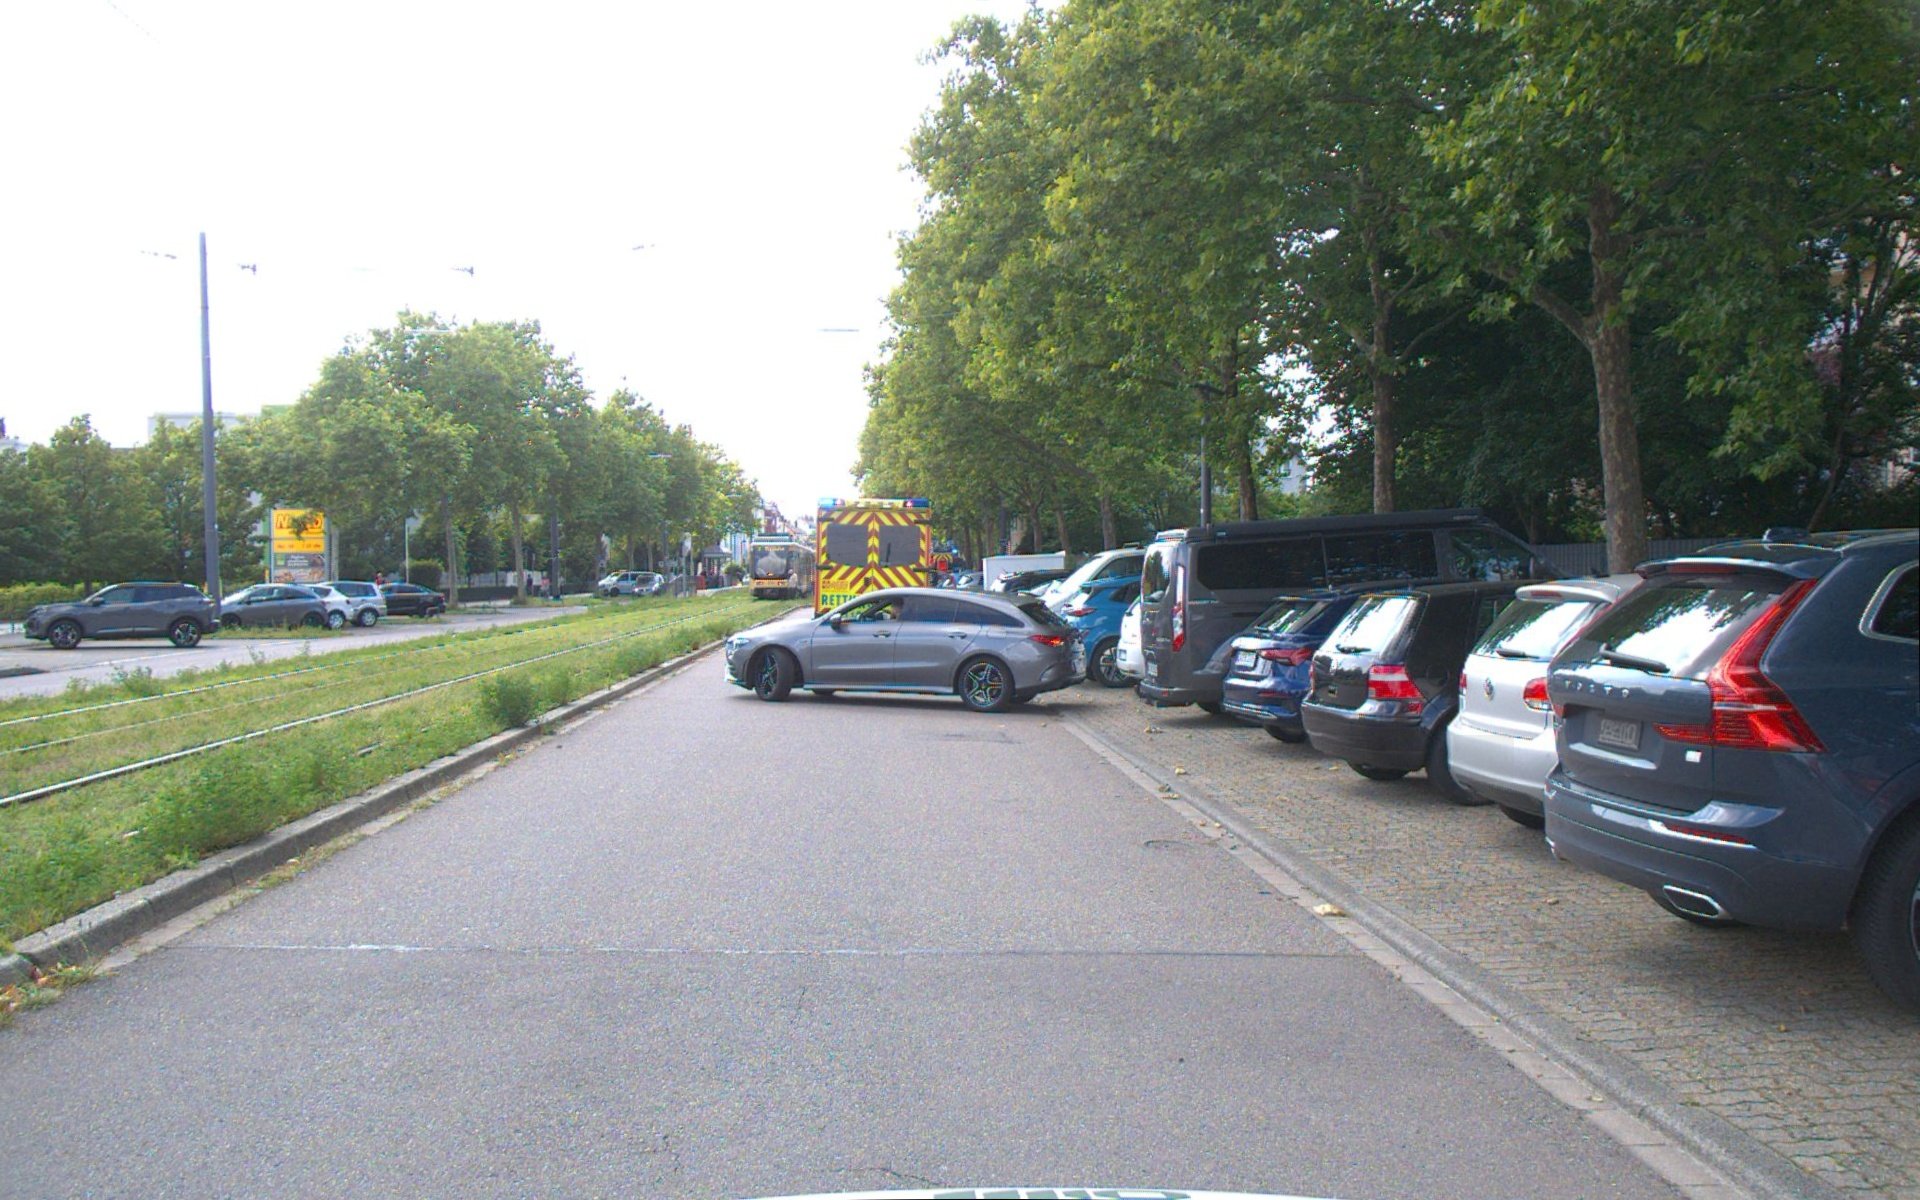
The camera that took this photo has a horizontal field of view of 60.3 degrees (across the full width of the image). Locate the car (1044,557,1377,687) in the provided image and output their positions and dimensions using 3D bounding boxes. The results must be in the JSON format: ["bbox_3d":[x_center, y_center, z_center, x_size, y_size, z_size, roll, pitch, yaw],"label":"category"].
[{"bbox_3d":[3.610,0.287,24.213,4.460,1.689,1.853,-2,1,-8],"label":"car"}]

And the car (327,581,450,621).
[{"bbox_3d":[-22.262,0.040,64.498,4.201,1.508,1.854,0,0,-43],"label":"car"}]

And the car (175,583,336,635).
[{"bbox_3d":[-21.431,0.248,50.371,4.194,1.508,1.857,0,0,-39],"label":"car"}]

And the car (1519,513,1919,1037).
[{"bbox_3d":[4.572,0.494,6.262,4.292,1.668,1.756,-2,1,-2],"label":"car"}]

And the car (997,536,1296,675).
[{"bbox_3d":[2.957,0.061,26.713,4.459,2.035,1.853,-2,1,-7],"label":"car"}]

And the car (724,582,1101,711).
[{"bbox_3d":[-0.562,0.529,20.654,4.359,1.409,1.768,1,1,15],"label":"car"}]

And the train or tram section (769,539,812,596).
[{"bbox_3d":[-11.360,-2.108,111.404,2.462,3.646,7.440,-2,0,-3],"label":"train or tram section"}]

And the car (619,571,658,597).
[{"bbox_3d":[-21.197,-1.054,109.111,1.954,1.585,4.367,-2,1,-4],"label":"car"}]

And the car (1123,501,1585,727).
[{"bbox_3d":[4.129,0.122,17.774,4.456,2.160,1.854,-2,1,-4],"label":"car"}]

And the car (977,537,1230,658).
[{"bbox_3d":[2.668,-0.068,31.295,4.459,2.079,1.853,-2,1,-7],"label":"car"}]

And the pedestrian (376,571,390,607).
[{"bbox_3d":[-27.676,-0.550,79.361,0.457,1.706,0.603,-1,1,-5],"label":"pedestrian"}]

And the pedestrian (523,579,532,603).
[{"bbox_3d":[-26.808,-0.552,102.545,0.413,1.499,0.467,-1,1,-8],"label":"pedestrian"}]

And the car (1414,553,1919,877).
[{"bbox_3d":[4.714,0.526,9.118,3.887,1.520,1.755,-2,1,-4],"label":"car"}]

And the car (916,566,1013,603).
[{"bbox_3d":[0.196,-0.745,79.477,4.459,1.636,1.853,-2,1,-7],"label":"car"}]

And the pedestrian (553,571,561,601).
[{"bbox_3d":[-24.017,-0.841,98.585,0.413,1.760,0.467,-1,1,-8],"label":"pedestrian"}]

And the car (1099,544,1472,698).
[{"bbox_3d":[4.182,0.243,21.709,4.456,1.797,1.854,-2,1,-4],"label":"car"}]

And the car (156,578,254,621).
[{"bbox_3d":[-33.419,-0.028,73.235,3.911,1.780,1.997,2,1,28],"label":"car"}]

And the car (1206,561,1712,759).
[{"bbox_3d":[4.297,0.484,14.617,3.887,1.520,1.755,-2,0,-4],"label":"car"}]

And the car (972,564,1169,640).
[{"bbox_3d":[2.622,0.028,39.932,4.459,1.636,1.853,-2,1,-7],"label":"car"}]

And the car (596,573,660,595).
[{"bbox_3d":[-25.832,-1.244,128.892,4.589,1.661,1.854,-2,1,-43],"label":"car"}]

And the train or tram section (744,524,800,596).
[{"bbox_3d":[-10.072,-2.082,89.134,2.462,3.646,7.440,-2,0,-3],"label":"train or tram section"}]

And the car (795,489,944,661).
[{"bbox_3d":[-1.714,-0.481,33.071,2.588,3.018,6.298,2,0,-2],"label":"car"}]

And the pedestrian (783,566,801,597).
[{"bbox_3d":[-8.612,-0.945,84.943,0.863,1.552,0.750,1,0,-4],"label":"pedestrian"}]

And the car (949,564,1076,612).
[{"bbox_3d":[1.920,-0.448,61.472,4.459,1.636,1.853,-2,1,-7],"label":"car"}]

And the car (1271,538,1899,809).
[{"bbox_3d":[4.399,0.442,11.829,3.898,1.633,1.750,-2,1,-14],"label":"car"}]

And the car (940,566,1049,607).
[{"bbox_3d":[1.461,-0.587,71.307,4.459,1.636,1.853,-2,1,-7],"label":"car"}]

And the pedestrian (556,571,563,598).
[{"bbox_3d":[-28.676,-1.109,118.428,0.457,1.860,0.422,-1,1,-5],"label":"pedestrian"}]

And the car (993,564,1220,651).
[{"bbox_3d":[3.039,0.126,34.794,4.459,1.636,1.853,-2,1,-7],"label":"car"}]

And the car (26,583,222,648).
[{"bbox_3d":[-20.330,0.350,40.312,4.173,1.508,1.866,0,0,-28],"label":"car"}]

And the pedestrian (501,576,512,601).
[{"bbox_3d":[-29.760,-0.753,108.553,0.620,1.578,0.621,-1,1,-6],"label":"pedestrian"}]

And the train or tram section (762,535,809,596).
[{"bbox_3d":[-10.938,-2.099,103.978,2.462,3.646,7.440,-2,0,-3],"label":"train or tram section"}]

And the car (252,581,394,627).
[{"bbox_3d":[-21.672,0.120,56.318,4.194,1.508,1.857,0,0,-39],"label":"car"}]

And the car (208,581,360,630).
[{"bbox_3d":[-21.753,0.151,53.279,4.194,1.508,1.857,0,0,-39],"label":"car"}]
